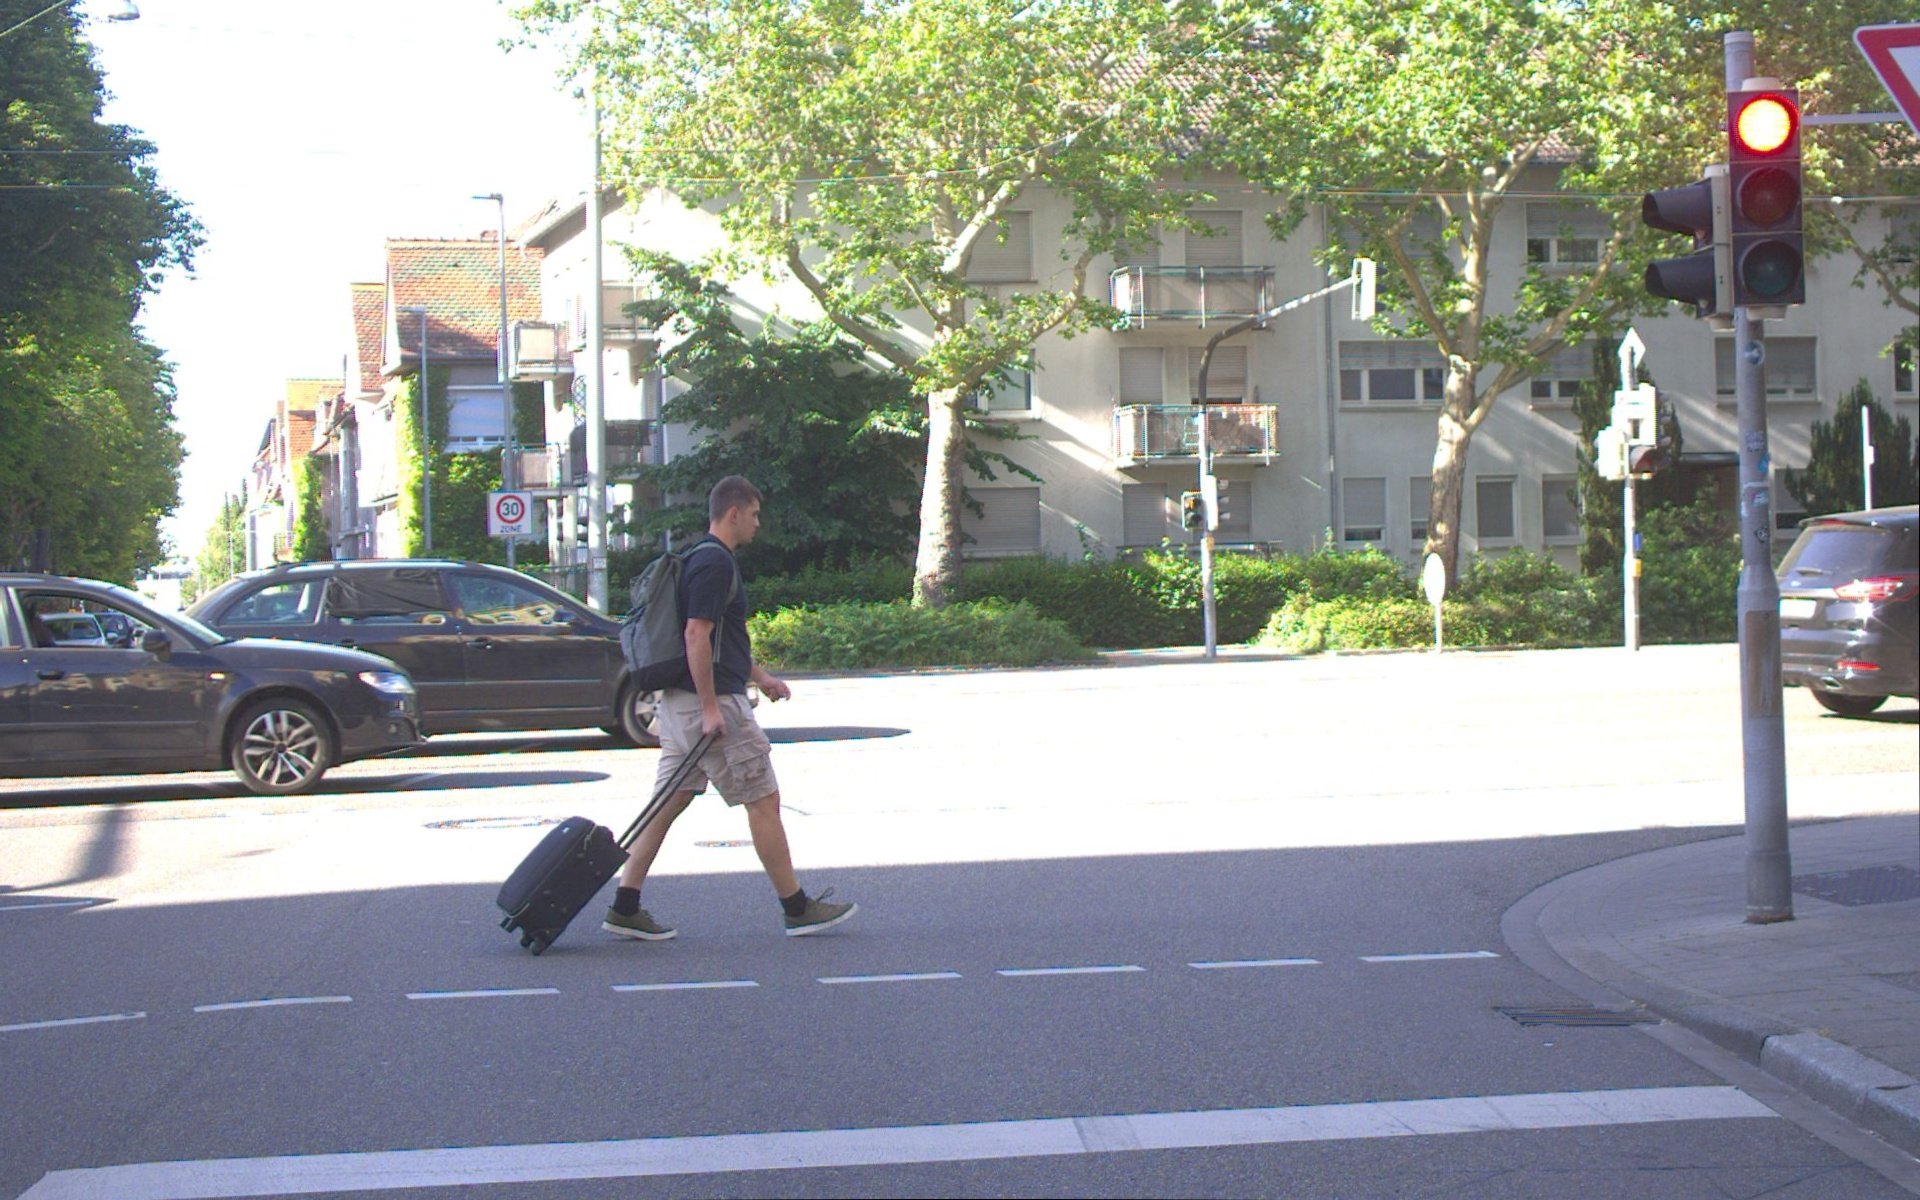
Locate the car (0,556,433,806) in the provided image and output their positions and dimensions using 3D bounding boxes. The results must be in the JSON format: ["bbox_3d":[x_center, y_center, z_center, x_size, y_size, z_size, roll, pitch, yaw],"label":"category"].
[{"bbox_3d":[-5.767,0.515,21.873,4.616,1.451,1.731,-2,1,-13],"label":"car"}]

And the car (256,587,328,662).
[{"bbox_3d":[-18.387,0.655,94.525,1.772,1.912,3.535,-3,1,-12],"label":"car"}]

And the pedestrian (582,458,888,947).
[{"bbox_3d":[-0.892,0.379,13.475,1.065,1.842,0.749,-1,1,-13],"label":"pedestrian"}]

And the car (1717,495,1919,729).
[{"bbox_3d":[8.295,0.003,26.130,4.659,1.659,1.731,-2,1,-16],"label":"car"}]

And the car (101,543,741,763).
[{"bbox_3d":[-4.131,0.362,26.221,4.616,1.451,1.982,-2,1,-13],"label":"car"}]

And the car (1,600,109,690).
[{"bbox_3d":[-16.646,0.811,63.354,1.698,1.478,3.535,-3,1,-12],"label":"car"}]

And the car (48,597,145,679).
[{"bbox_3d":[-17.343,0.747,69.191,1.698,1.478,3.535,-3,1,-12],"label":"car"}]

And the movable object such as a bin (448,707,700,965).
[{"bbox_3d":[-1.455,0.872,12.896,0.861,0.889,0.509,-2,1,-13],"label":"movable object such as a bin"}]
